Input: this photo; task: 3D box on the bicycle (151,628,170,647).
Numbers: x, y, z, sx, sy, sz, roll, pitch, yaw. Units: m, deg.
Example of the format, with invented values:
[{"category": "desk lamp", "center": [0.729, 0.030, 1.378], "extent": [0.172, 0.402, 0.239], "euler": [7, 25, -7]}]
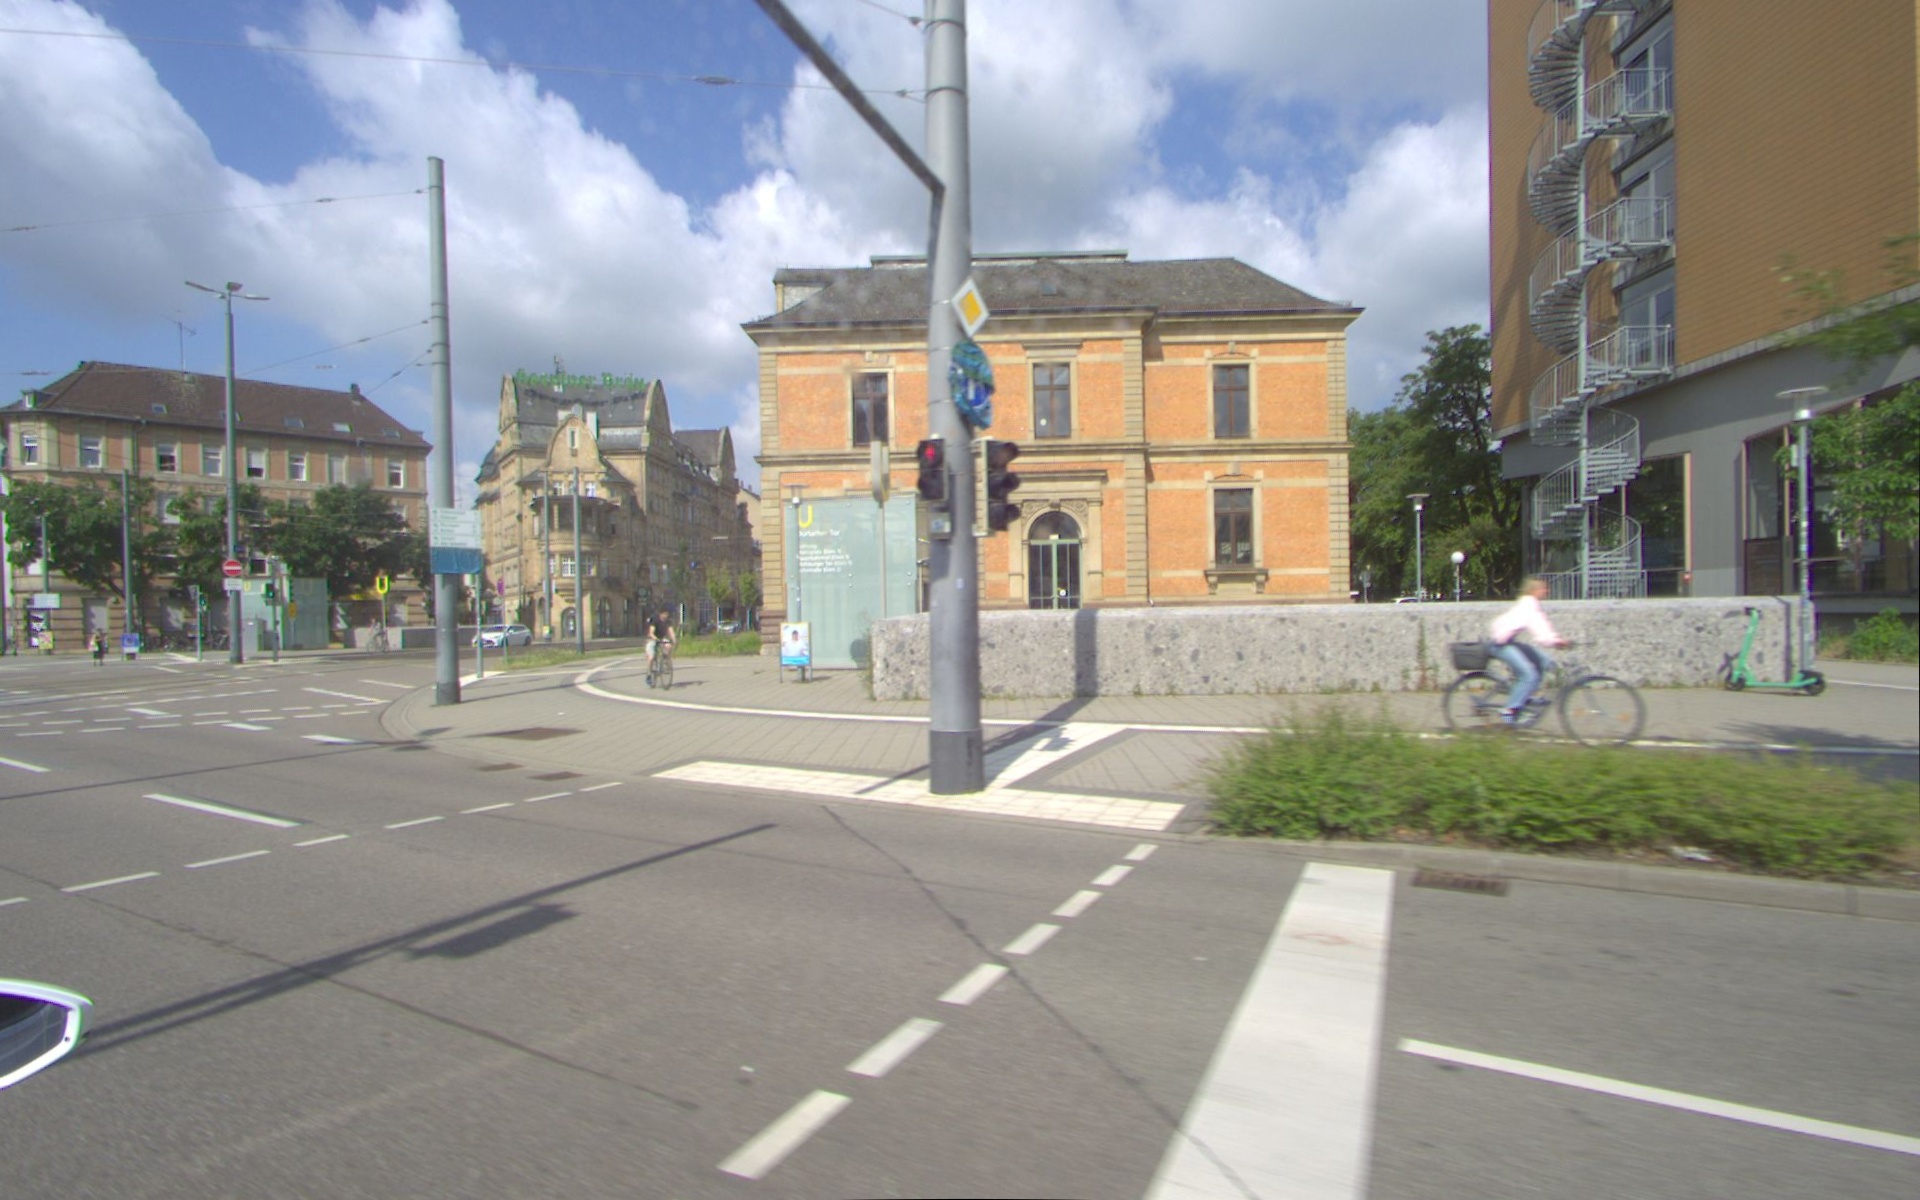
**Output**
[{"category": "bicycle", "center": [-49.640, 2.308, 62.168], "extent": [0.753, 1.181, 2.661], "euler": [-1, -1, -42]}]

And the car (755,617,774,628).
[{"category": "car", "center": [-27.730, 3.230, 142.238], "extent": [1.833, 1.401, 4.002], "euler": [-1, -2, 0]}]

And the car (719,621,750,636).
[{"category": "car", "center": [-25.013, 3.192, 111.336], "extent": [1.804, 1.616, 3.999], "euler": [-1, -3, 13]}]

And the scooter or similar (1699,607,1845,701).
[{"category": "scooter or similar", "center": [11.175, 0.711, 13.840], "extent": [0.427, 1.199, 1.532], "euler": [-1, 1, -22]}]

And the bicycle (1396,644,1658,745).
[{"category": "bicycle", "center": [5.685, 0.916, 10.164], "extent": [2.243, 0.909, 0.650], "euler": [-1, 0, 32]}]

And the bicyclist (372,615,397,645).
[{"category": "bicyclist", "center": [-32.826, 1.727, 57.151], "extent": [0.603, 1.696, 1.148], "euler": [-1, -1, 11]}]

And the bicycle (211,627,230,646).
[{"category": "bicycle", "center": [-47.276, 2.304, 64.027], "extent": [0.753, 1.181, 2.661], "euler": [-1, -1, -42]}]

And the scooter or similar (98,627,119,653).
[{"category": "scooter or similar", "center": [-50.984, 2.384, 59.944], "extent": [0.872, 1.501, 1.995], "euler": [-1, -1, -44]}]

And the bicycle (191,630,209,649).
[{"category": "bicycle", "center": [-48.067, 2.500, 63.329], "extent": [0.753, 1.180, 2.662], "euler": [1, -3, -41]}]

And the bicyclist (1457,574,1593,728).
[{"category": "bicyclist", "center": [5.712, 0.499, 10.140], "extent": [1.153, 1.476, 0.633], "euler": [-1, 0, 32]}]

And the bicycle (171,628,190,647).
[{"category": "bicycle", "center": [-48.859, 2.331, 62.754], "extent": [0.753, 1.180, 2.661], "euler": [2, -2, -42]}]

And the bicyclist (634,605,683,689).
[{"category": "bicyclist", "center": [-6.296, 0.967, 20.900], "extent": [0.927, 1.694, 0.574], "euler": [-1, 1, 44]}]

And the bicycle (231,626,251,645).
[{"category": "bicycle", "center": [-46.688, 2.312, 65.008], "extent": [0.753, 1.181, 2.661], "euler": [-1, -1, -42]}]

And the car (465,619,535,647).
[{"category": "car", "center": [-27.806, 2.049, 60.667], "extent": [1.919, 1.616, 4.509], "euler": [-1, -3, 4]}]

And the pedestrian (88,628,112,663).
[{"category": "pedestrian", "center": [-37.759, 1.984, 43.993], "extent": [0.733, 1.536, 0.541], "euler": [-1, 0, -36]}]

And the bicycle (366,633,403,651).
[{"category": "bicycle", "center": [-32.827, 2.388, 57.156], "extent": [0.831, 0.968, 1.778], "euler": [-3, 0, 10]}]

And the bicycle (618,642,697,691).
[{"category": "bicycle", "center": [-6.292, 1.361, 20.796], "extent": [1.790, 0.887, 0.754], "euler": [-1, 2, 44]}]

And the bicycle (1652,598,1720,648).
[{"category": "bicycle", "center": [18.892, 0.591, 26.069], "extent": [1.446, 1.264, 0.428], "euler": [-1, 0, 1]}]

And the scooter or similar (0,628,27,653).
[{"category": "scooter or similar", "center": [-54.668, 2.342, 57.601], "extent": [2.772, 1.403, 1.171], "euler": [-3, -3, 40]}]

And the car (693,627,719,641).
[{"category": "car", "center": [-28.168, 3.761, 111.029], "extent": [1.833, 1.401, 4.003], "euler": [-1, -3, 0]}]
